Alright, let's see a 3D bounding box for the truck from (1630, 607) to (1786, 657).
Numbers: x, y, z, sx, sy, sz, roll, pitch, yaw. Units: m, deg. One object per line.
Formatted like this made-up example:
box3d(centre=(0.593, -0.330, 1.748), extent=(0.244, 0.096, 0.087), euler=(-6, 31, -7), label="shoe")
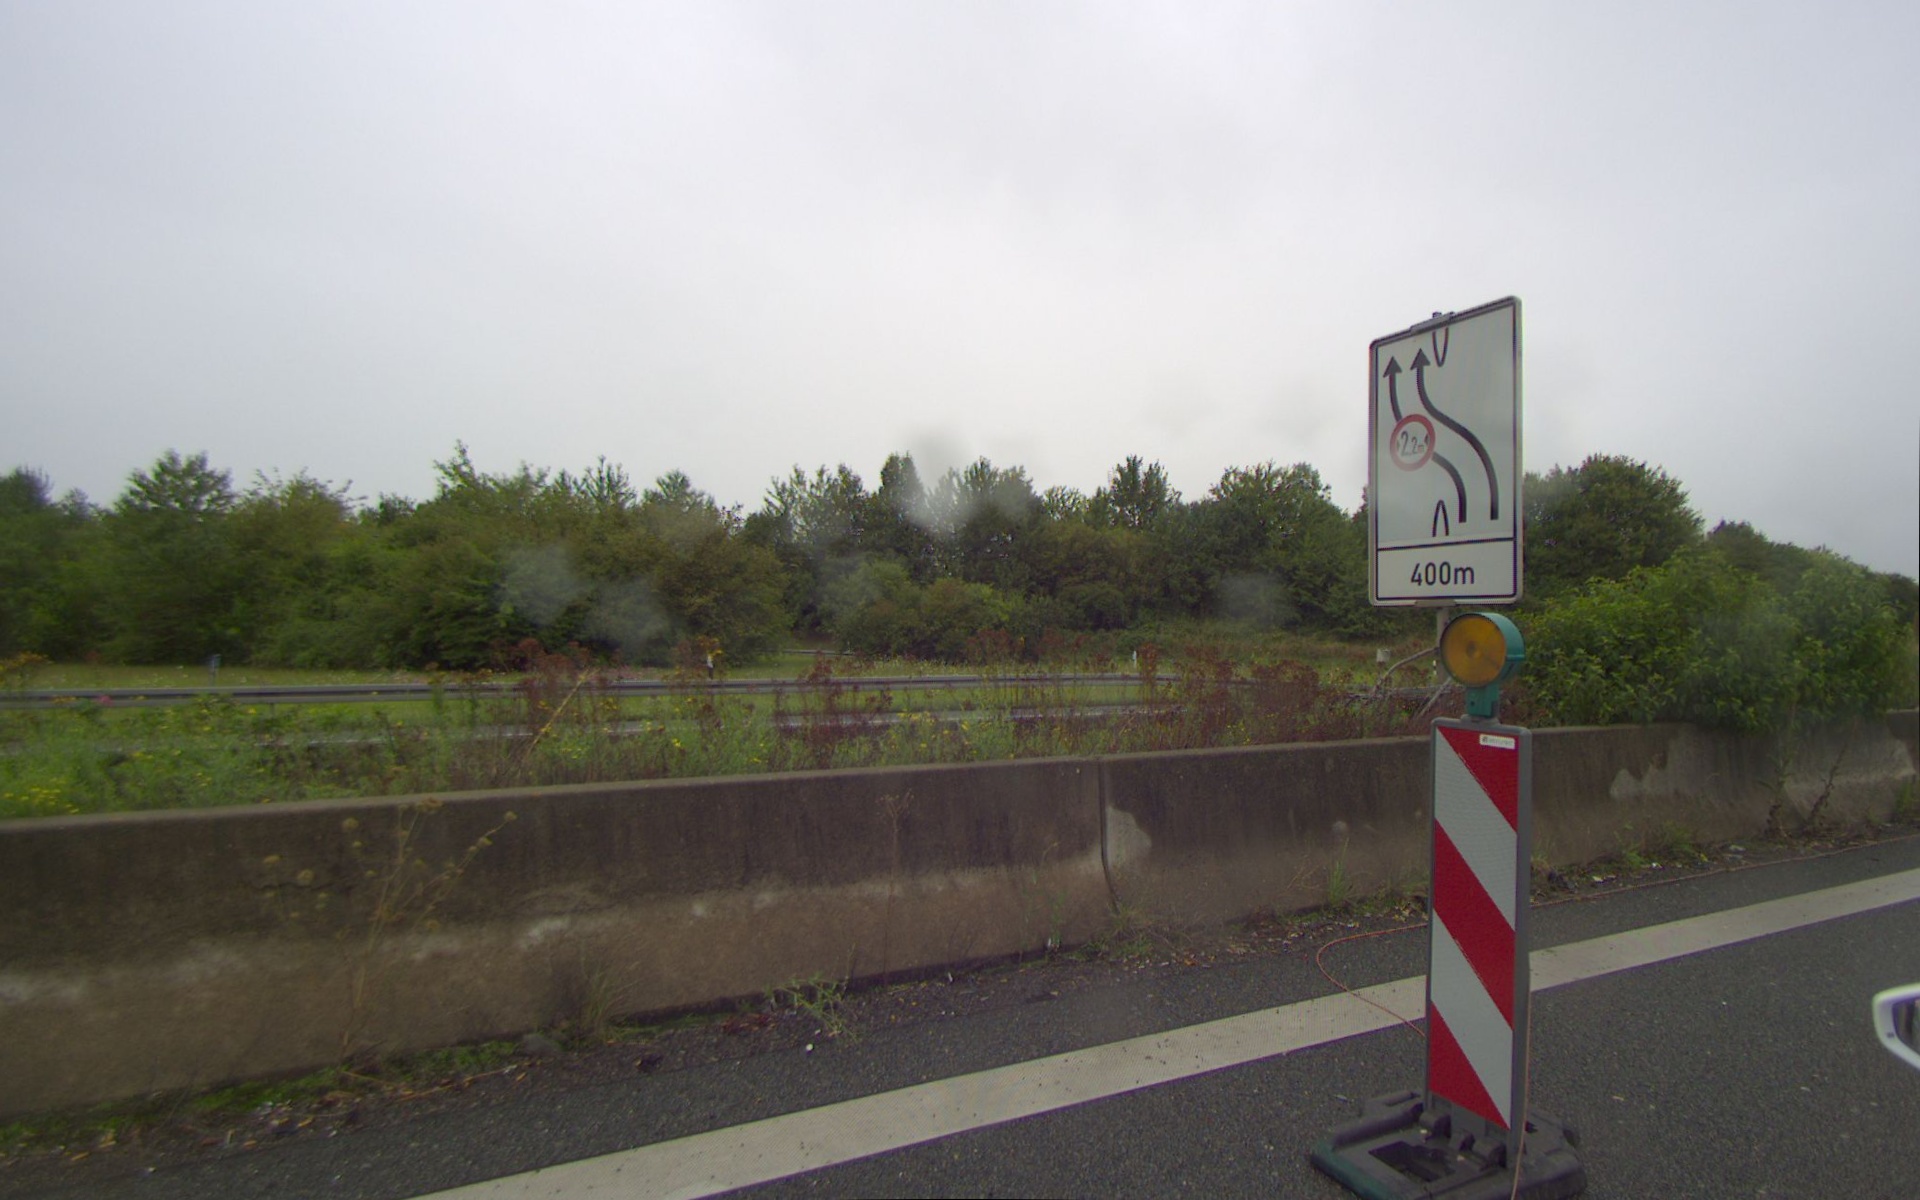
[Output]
box3d(centre=(37.628, 1.607, 50.630), extent=(6.306, 2.460, 2.000), euler=(0, -2, 0), label="truck")
